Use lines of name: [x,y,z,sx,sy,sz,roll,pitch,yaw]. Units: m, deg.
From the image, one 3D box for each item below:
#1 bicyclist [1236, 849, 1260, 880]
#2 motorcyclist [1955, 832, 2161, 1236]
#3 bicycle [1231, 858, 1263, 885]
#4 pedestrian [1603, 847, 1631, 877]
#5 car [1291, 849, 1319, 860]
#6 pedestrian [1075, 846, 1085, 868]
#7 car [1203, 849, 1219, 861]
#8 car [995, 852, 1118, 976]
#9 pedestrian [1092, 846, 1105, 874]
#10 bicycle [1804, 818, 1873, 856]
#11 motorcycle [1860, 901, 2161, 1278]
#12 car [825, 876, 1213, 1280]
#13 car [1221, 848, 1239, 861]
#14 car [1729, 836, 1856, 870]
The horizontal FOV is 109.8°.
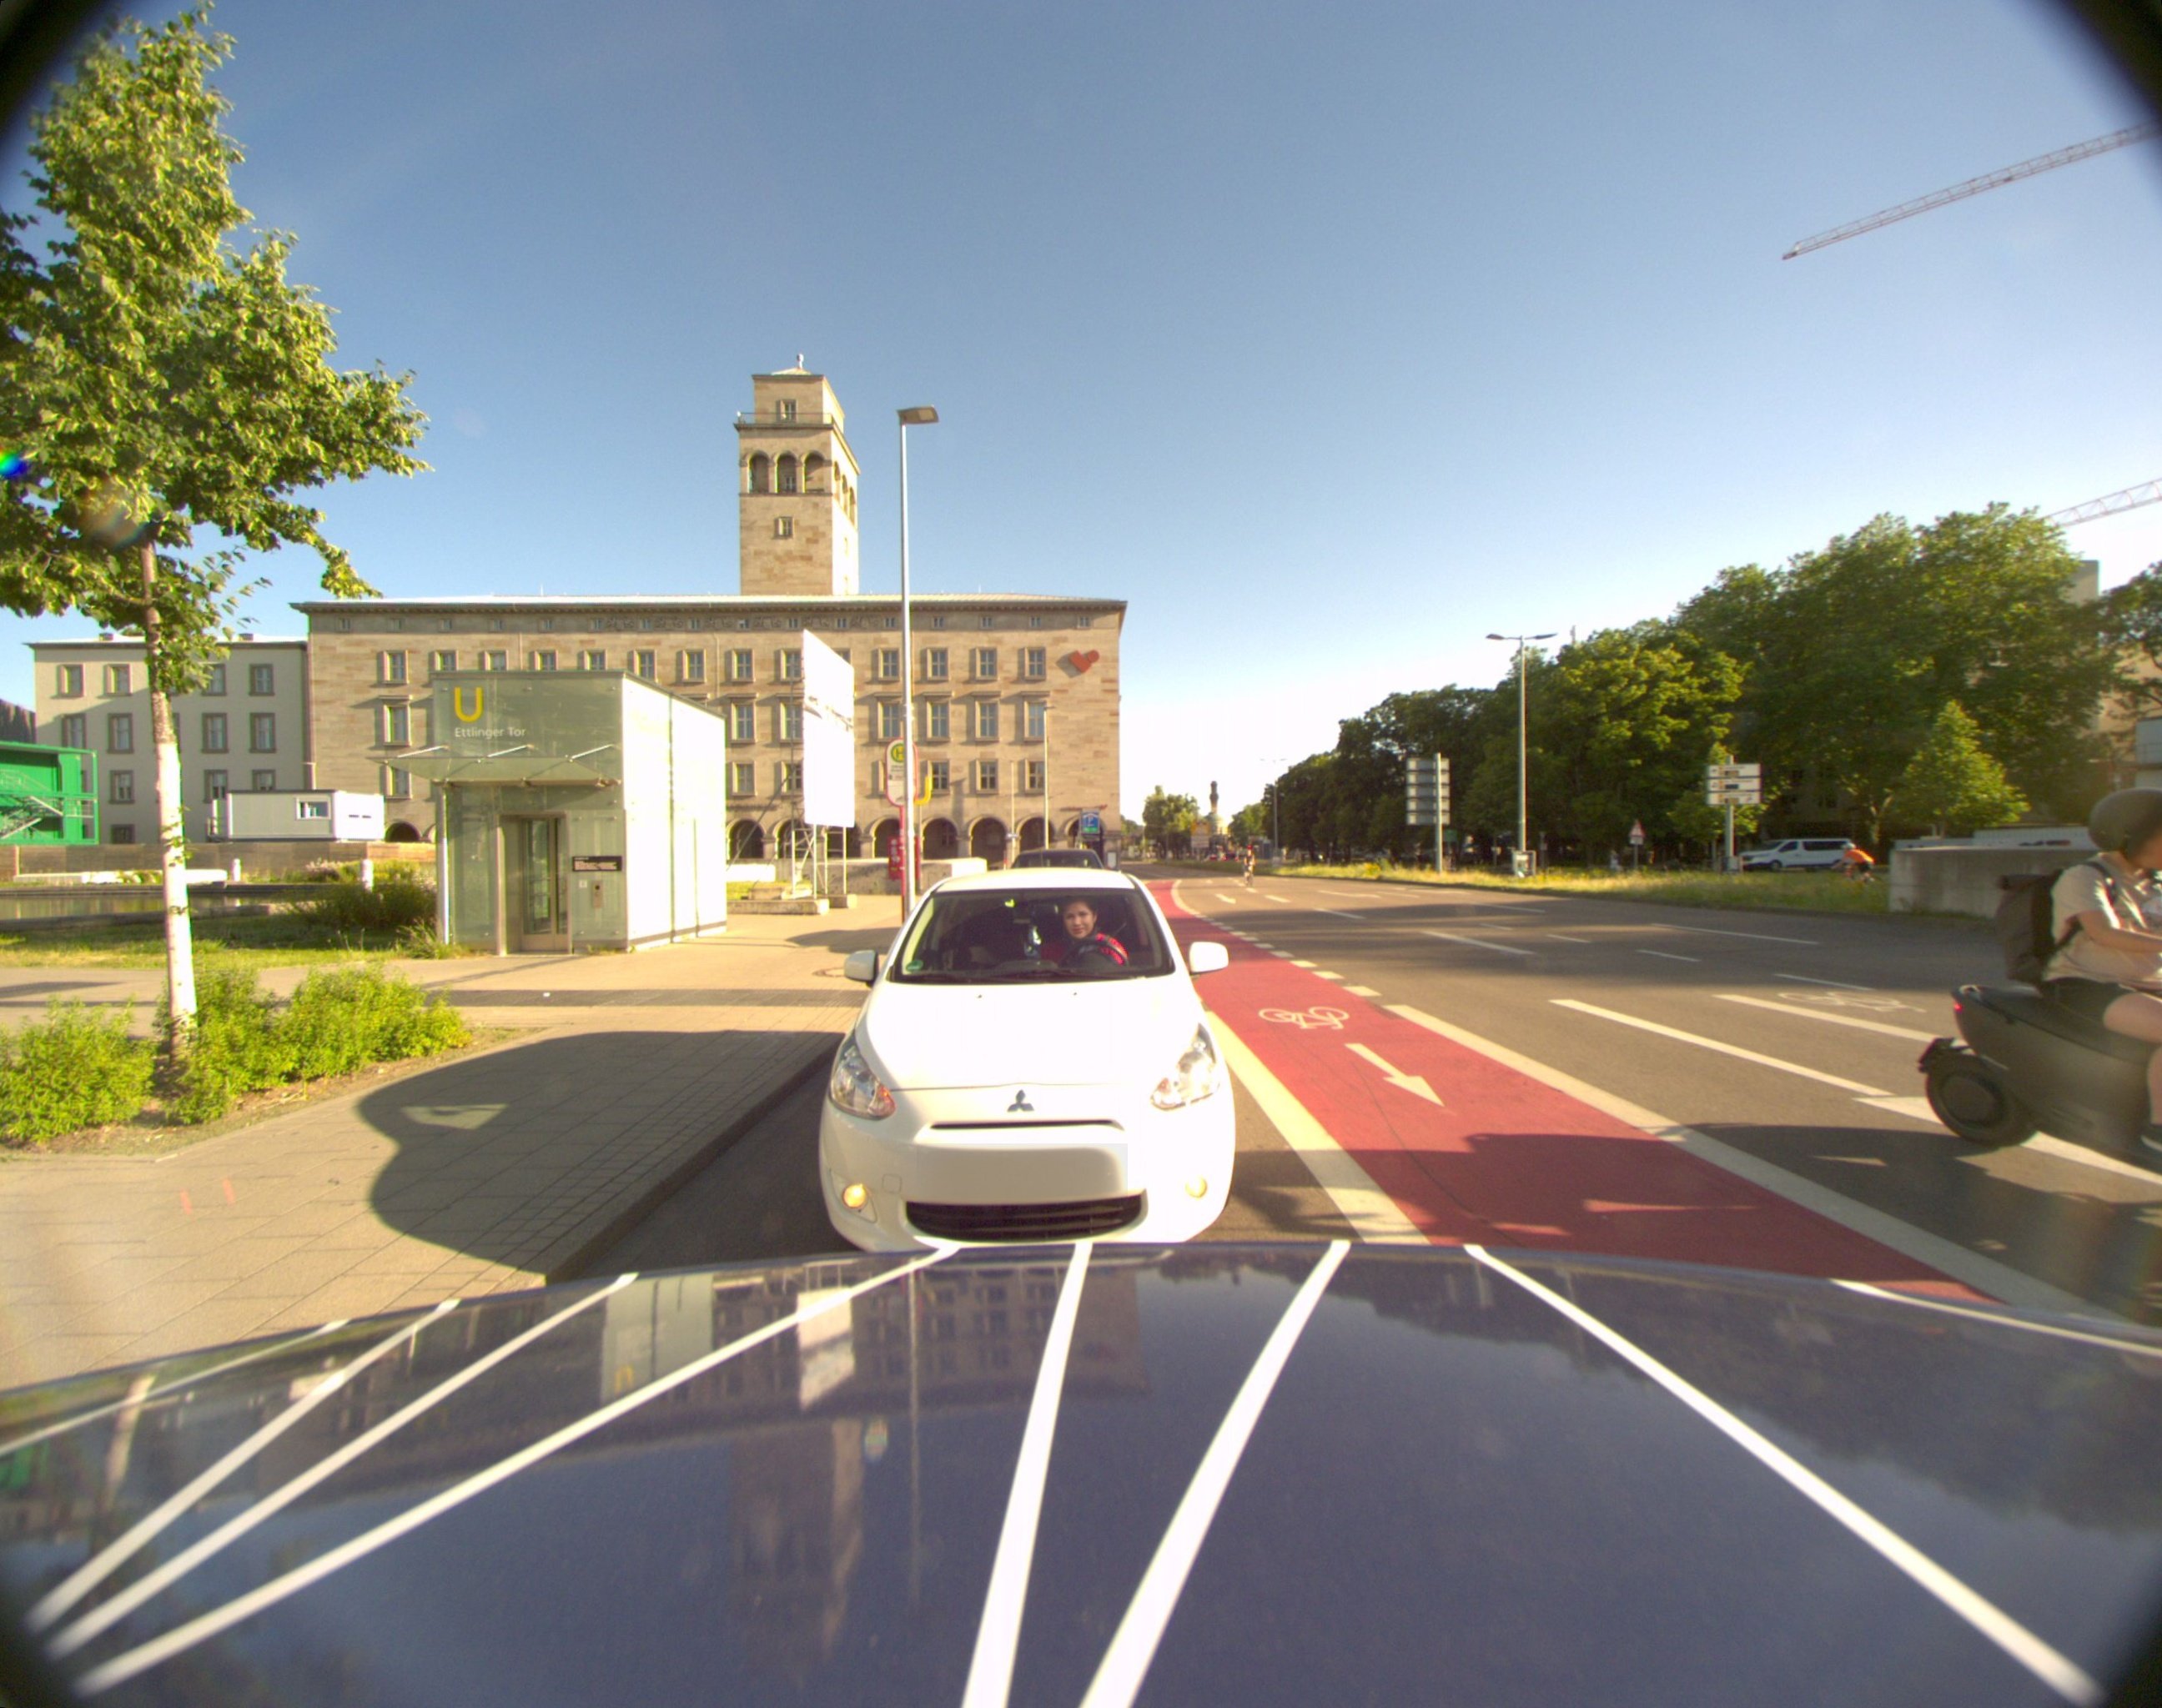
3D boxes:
bicyclist: [7.526,0.456,34.342,0.854,1.340,0.829,-2,1,1]
motorcyclist: [4.286,0.651,2.938,0.727,1.466,0.917,-2,0,1]
bicycle: [7.530,0.783,34.568,0.854,1.109,2.808,-2,0,1]
pedestrian: [33.345,0.480,47.265,0.989,1.821,1.019,-2,1,-1]
car: [40.887,0.134,138.999,4.580,1.827,1.878,-2,1,4]
pedestrian: [-0.090,0.387,89.288,1.122,2.524,1.055,-2,1,1]
car: [20.605,0.085,120.438,1.747,1.778,3.947,-2,1,1]
car: [-0.362,0.834,12.519,1.642,1.653,3.849,-2,0,-1]
pedestrian: [1.650,0.535,70.664,1.122,2.524,1.055,-2,1,1]
bicycle: [23.933,-0.530,24.039,0.497,1.148,1.650,-2,1,-1]
motorcycle: [4.294,0.895,2.885,0.724,1.286,1.884,-2,0,1]
car: [-0.223,0.950,4.839,1.496,1.477,3.604,-2,0,1]
car: [21.610,0.091,110.161,1.819,1.817,3.999,-2,1,1]
car: [42.147,-0.072,45.107,5.516,1.924,2.065,-1,1,2]
